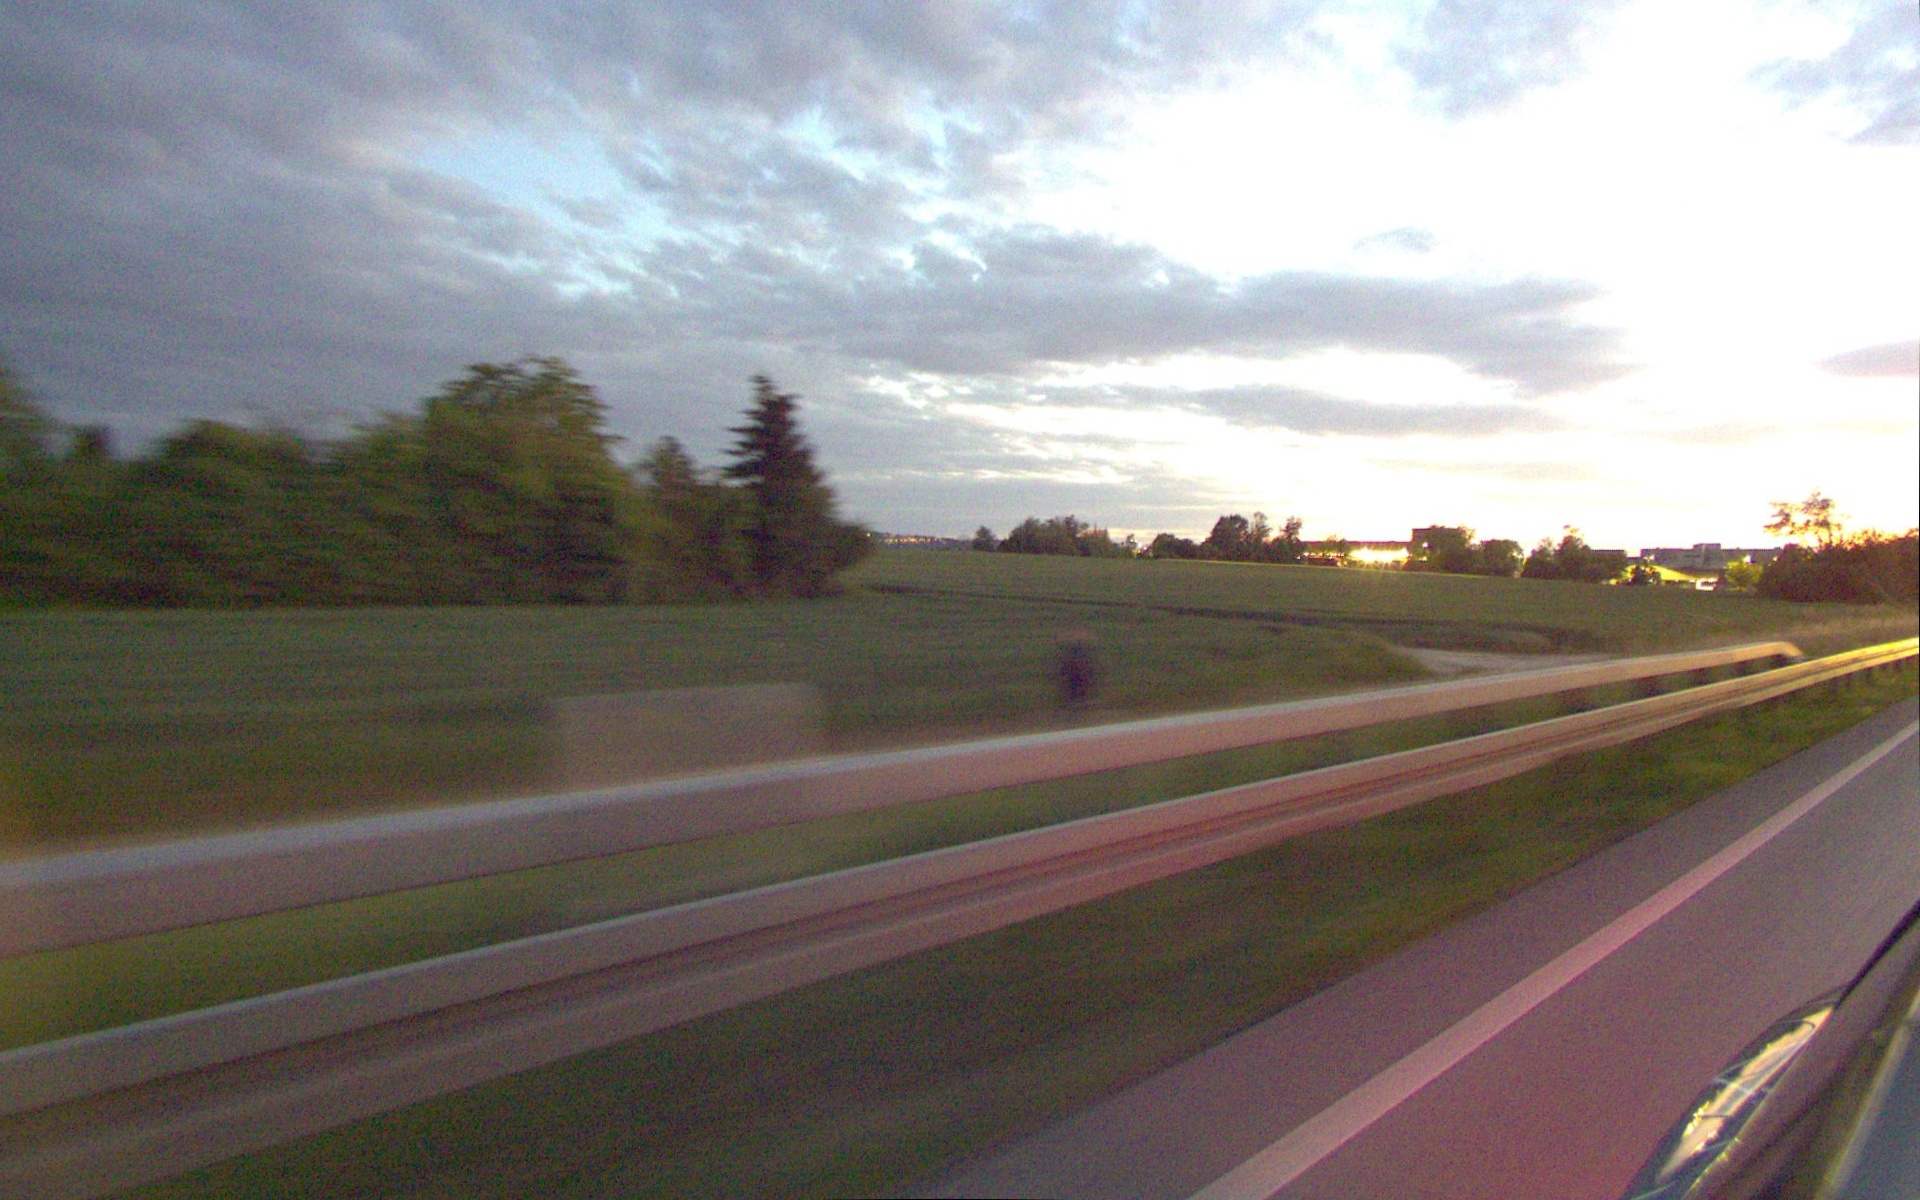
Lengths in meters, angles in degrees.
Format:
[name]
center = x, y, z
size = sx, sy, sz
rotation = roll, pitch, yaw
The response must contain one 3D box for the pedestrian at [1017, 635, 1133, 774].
[pedestrian]
center = 1.513, 1.322, 13.354
size = 1.098, 1.663, 1.064
rotation = 0, 0, -40
